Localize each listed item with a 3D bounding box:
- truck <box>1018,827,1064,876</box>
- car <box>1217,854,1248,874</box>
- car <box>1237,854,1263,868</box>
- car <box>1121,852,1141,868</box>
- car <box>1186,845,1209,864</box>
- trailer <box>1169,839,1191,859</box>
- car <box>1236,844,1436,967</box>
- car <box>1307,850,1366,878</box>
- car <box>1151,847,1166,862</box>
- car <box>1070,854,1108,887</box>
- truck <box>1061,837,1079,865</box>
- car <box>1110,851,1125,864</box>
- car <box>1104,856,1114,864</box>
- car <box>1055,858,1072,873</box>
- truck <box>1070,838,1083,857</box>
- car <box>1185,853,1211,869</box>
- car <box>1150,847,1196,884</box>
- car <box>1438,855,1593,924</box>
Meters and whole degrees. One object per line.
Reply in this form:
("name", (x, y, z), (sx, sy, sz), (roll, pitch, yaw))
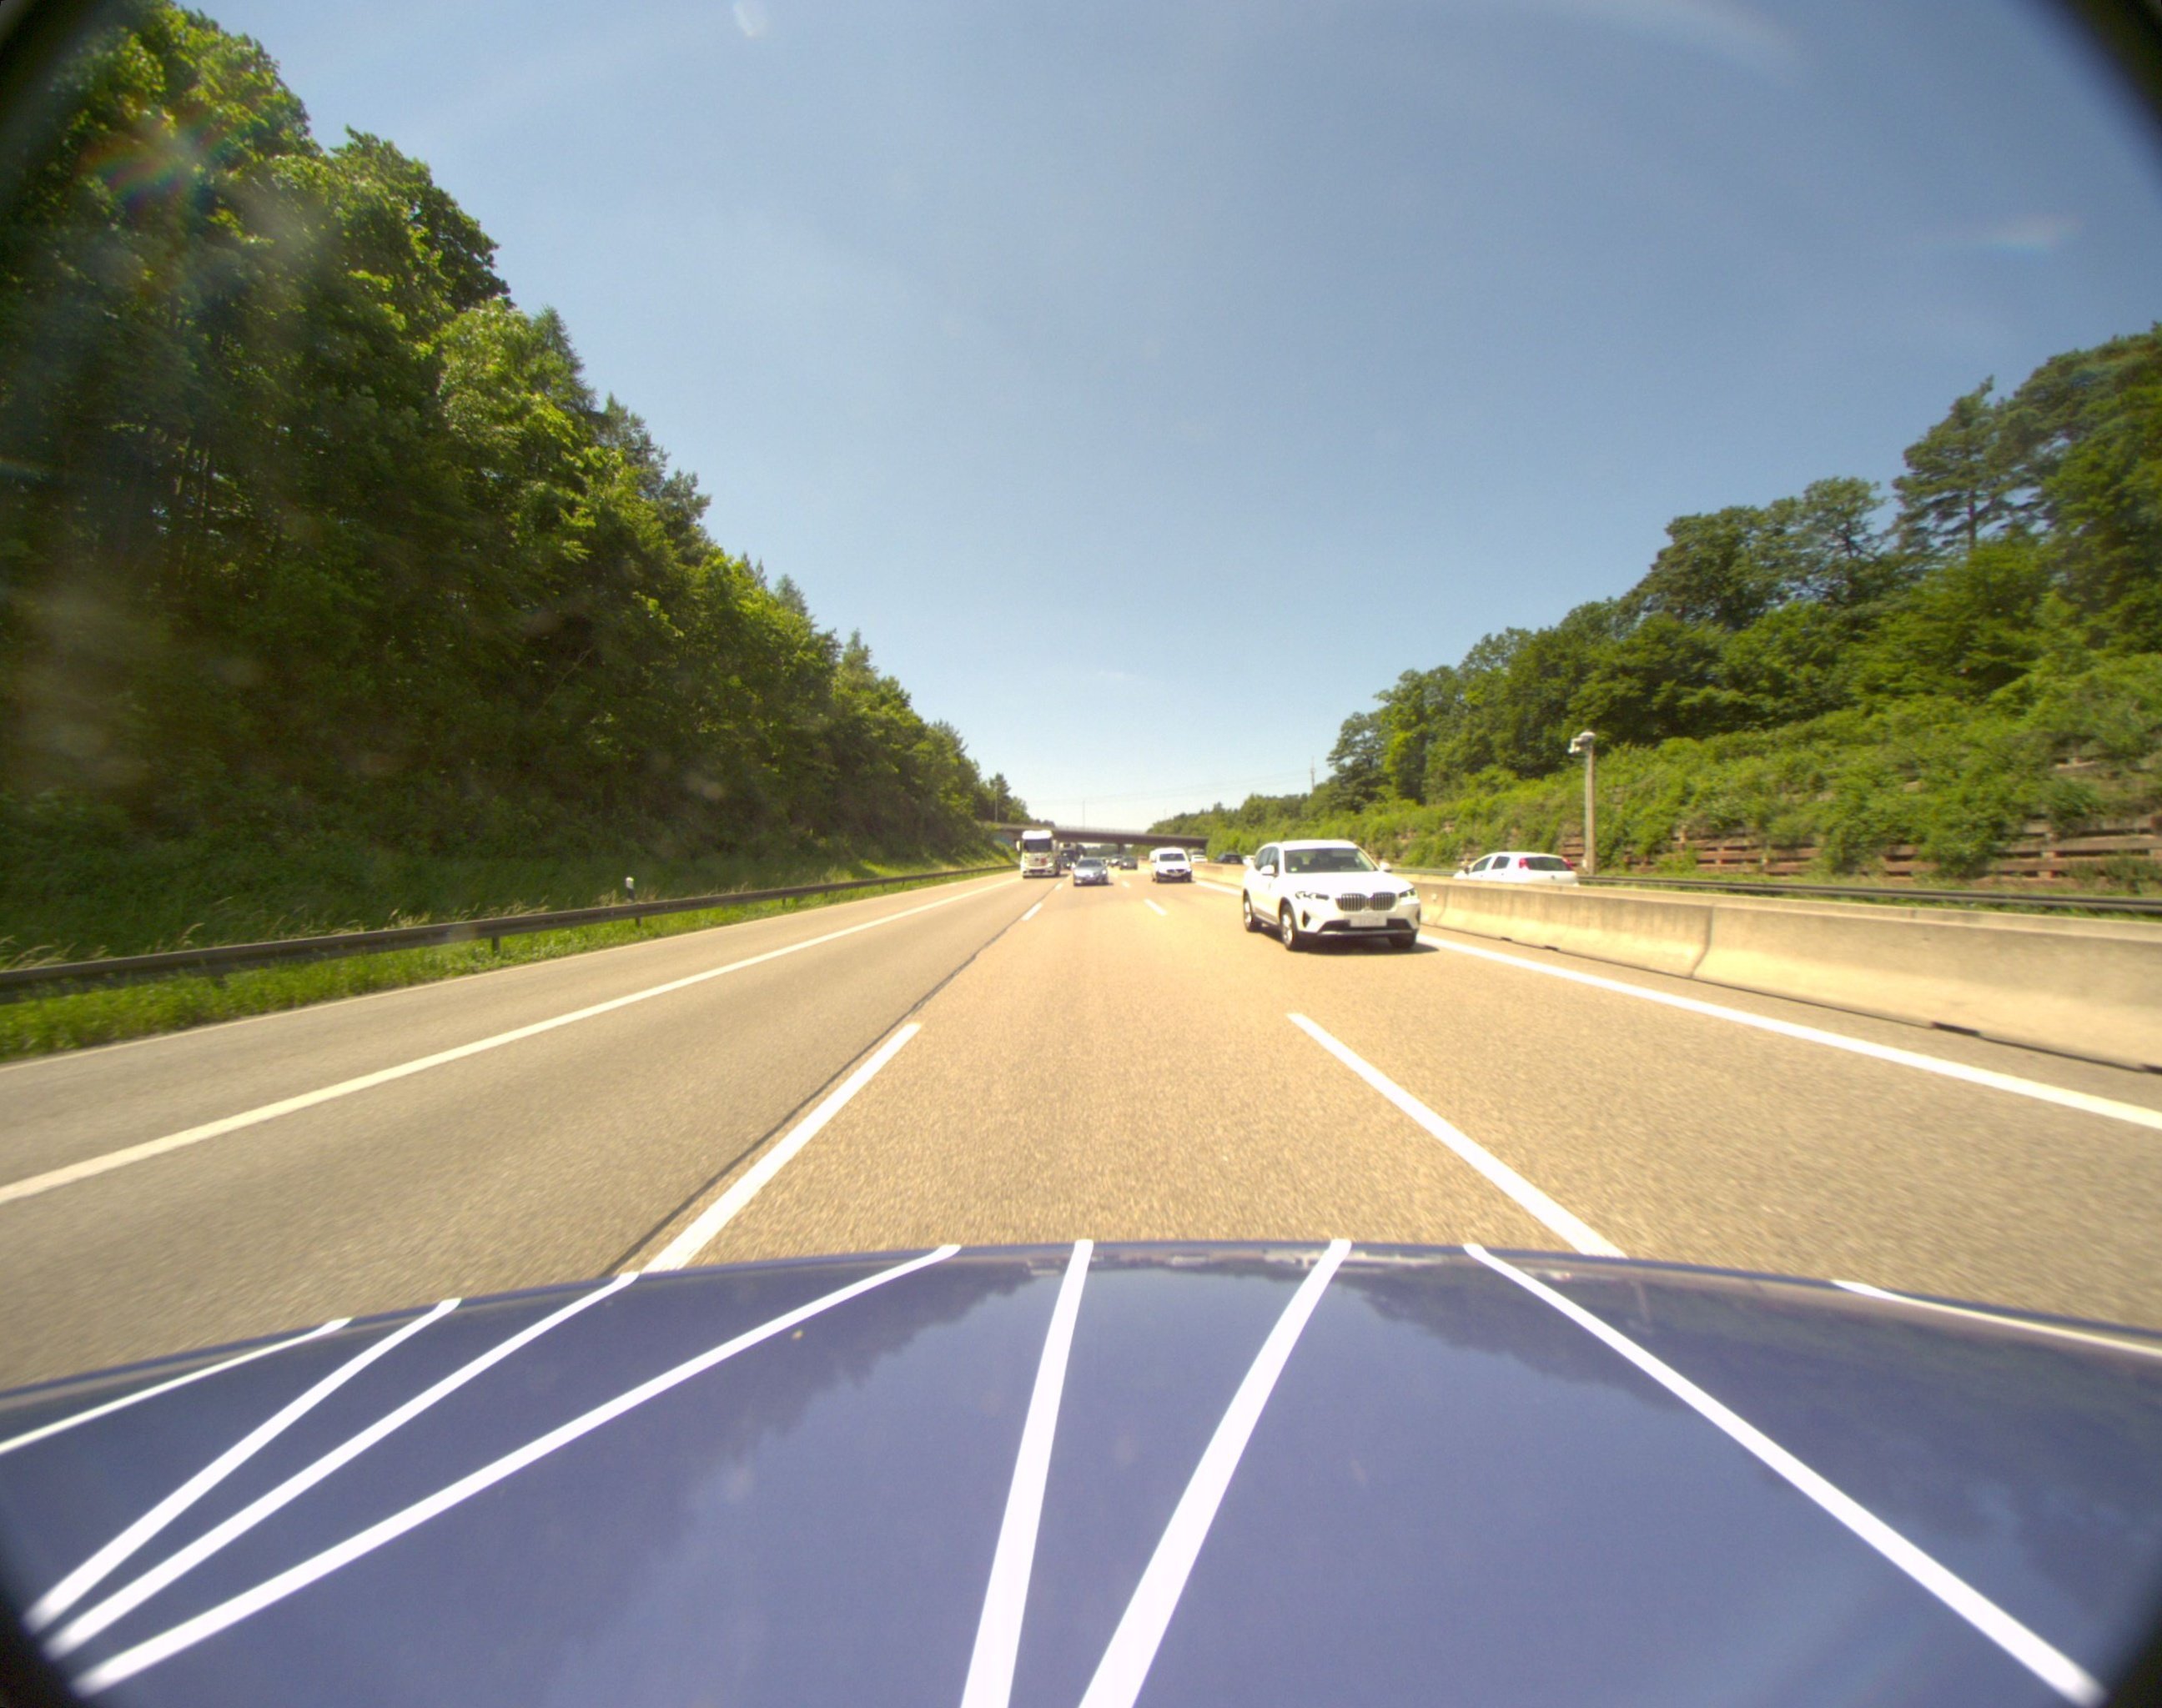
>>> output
("truck", (-3.117, -0.237, 62.659), (2.844, 3.518, 13.086), (-3, 0, 0))
("car", (12.357, 0.788, 62.246), (1.757, 1.628, 4.303), (0, 0, 0))
("car", (19.479, 0.802, 87.648), (1.944, 1.595, 4.860), (0, 0, 0))
("car", (5.237, 0.644, 80.374), (1.770, 1.504, 4.725), (-3, 0, 0))
("car", (16.822, 0.092, 110.167), (2.245, 2.667, 7.137), (0, 0, 0))
("trailer", (21.389, -1.125, 164.861), (2.942, 4.162, 14.183), (-2, 0, 0))
("car", (3.938, 0.705, 12.598), (1.850, 1.634, 4.368), (-2, 0, 0))
("car", (16.033, 0.606, 48.058), (1.887, 1.628, 5.649), (0, 0, 0))
("car", (13.864, 0.093, 136.621), (2.245, 2.667, 5.341), (0, 0, 0))
("car", (0.488, 0.840, 40.300), (1.843, 1.518, 4.501), (-3, 0, 2))
("truck", (-1.745, -0.526, 129.881), (2.627, 4.365, 13.086), (-3, 0, 0))
("car", (4.811, 0.434, 100.900), (1.770, 1.504, 4.000), (-3, 1, 0))
("car", (5.691, 1.206, 153.912), (1.770, 1.504, 4.000), (-3, 1, 0))
("car", (-1.988, 1.312, 88.682), (1.770, 1.504, 4.000), (-3, 1, 0))
("truck", (-1.075, -1.574, 183.416), (2.627, 4.365, 13.086), (-3, 0, 0))
("car", (12.400, 0.686, 80.699), (1.944, 1.595, 5.226), (0, 0, 0))
("car", (4.844, 0.580, 40.481), (1.998, 1.764, 4.501), (-3, 1, 2))
("car", (11.206, 0.847, 19.962), (1.750, 1.595, 4.058), (0, 0, 0))
